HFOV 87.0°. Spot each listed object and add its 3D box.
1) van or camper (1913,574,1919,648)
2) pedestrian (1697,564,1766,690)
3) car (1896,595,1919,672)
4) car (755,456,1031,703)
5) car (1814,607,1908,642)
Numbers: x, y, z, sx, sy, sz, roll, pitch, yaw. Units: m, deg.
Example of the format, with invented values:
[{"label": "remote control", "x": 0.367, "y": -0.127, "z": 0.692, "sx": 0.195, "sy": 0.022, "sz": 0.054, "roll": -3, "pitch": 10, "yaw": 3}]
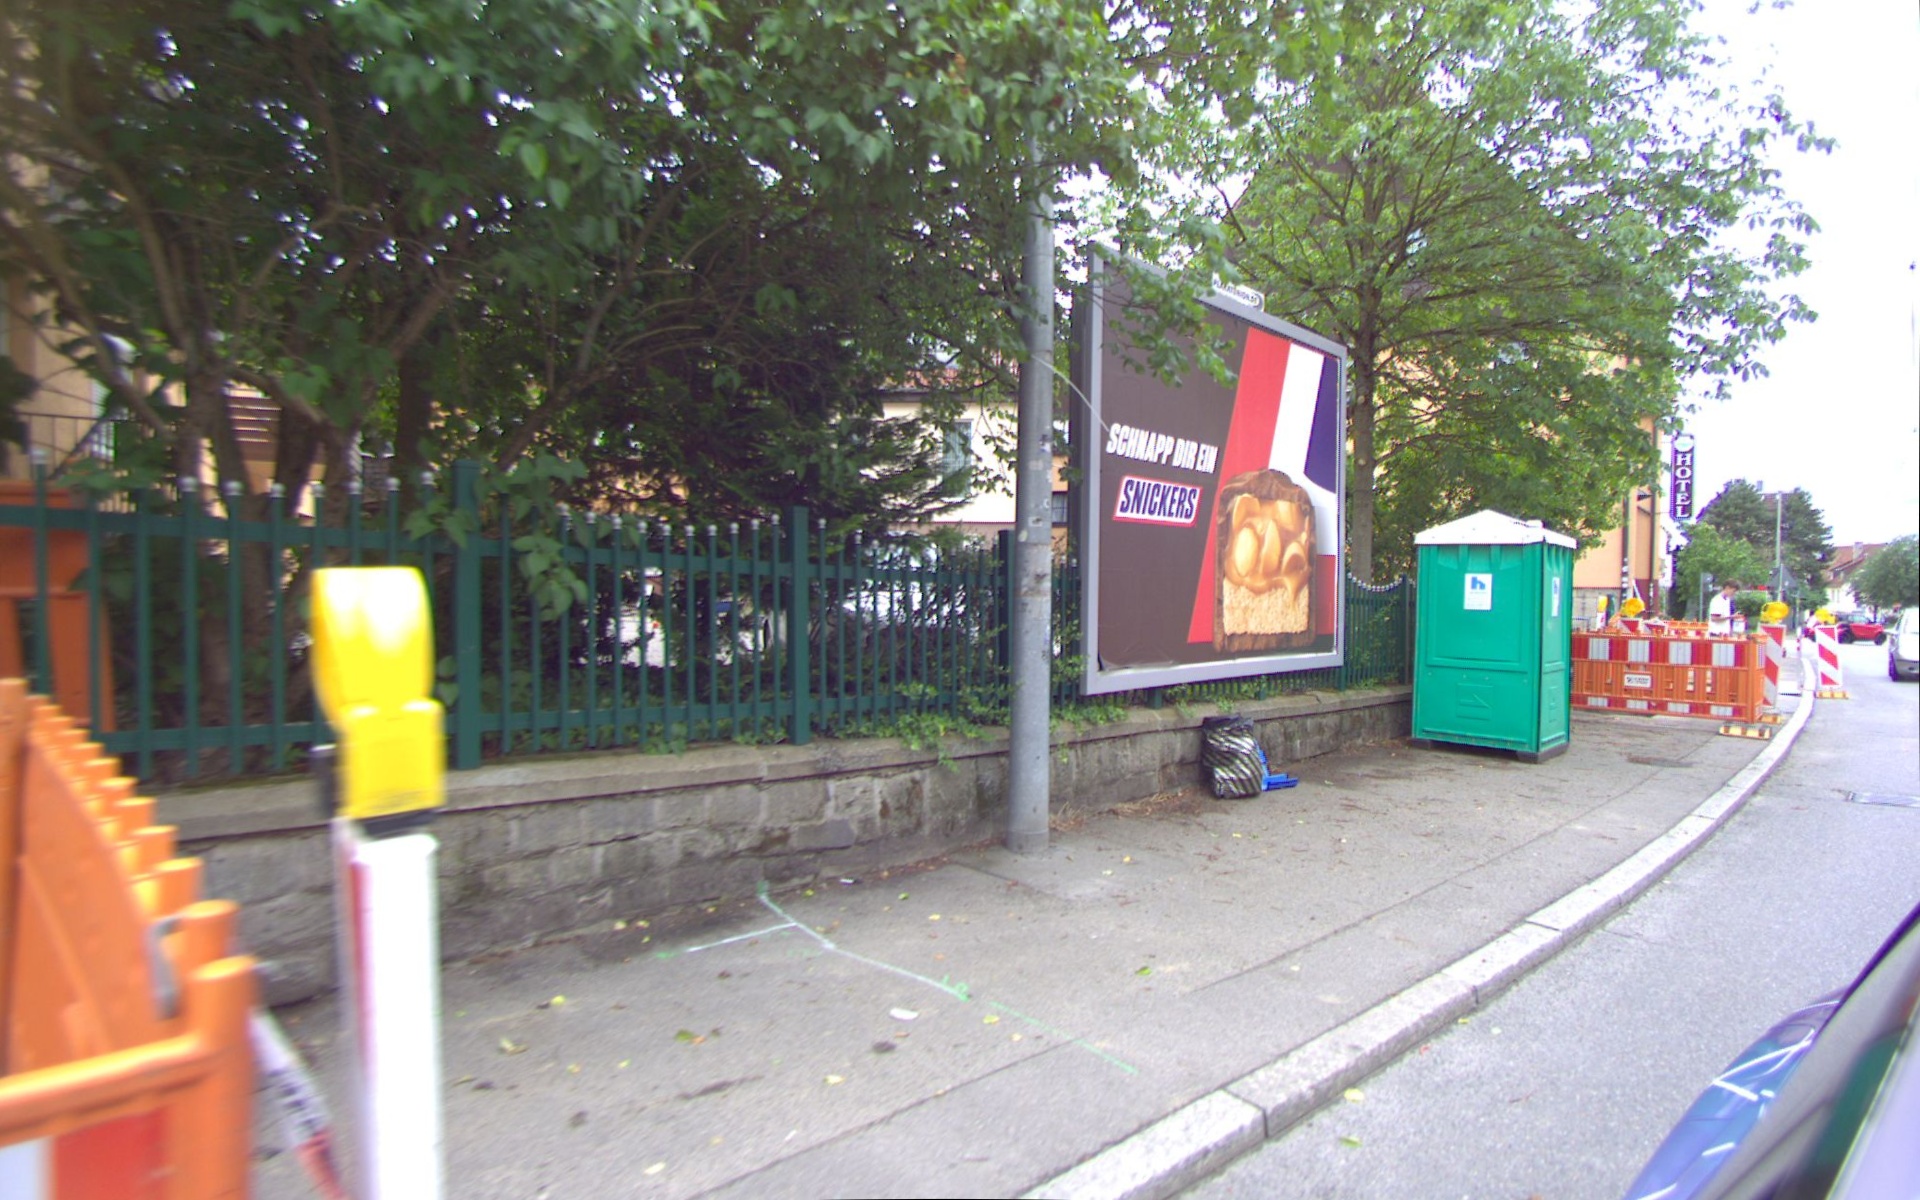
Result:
[{"label": "van or camper", "x": 37.071, "y": 0.471, "z": 36.871, "sx": 6.091, "sy": 2.640, "sz": 2.326, "roll": 1, "pitch": 1, "yaw": -36}, {"label": "pedestrian", "x": 12.570, "y": 0.413, "z": 16.485, "sx": 0.797, "sy": 1.974, "sz": 0.824, "roll": 2, "pitch": 1, "yaw": 40}, {"label": "car", "x": 21.810, "y": 0.746, "z": 22.183, "sx": 1.853, "sy": 1.576, "sz": 4.284, "roll": 3, "pitch": 1, "yaw": 43}, {"label": "car", "x": -0.949, "y": -0.209, "z": 10.770, "sx": 1.958, "sy": 2.058, "sz": 4.237, "roll": 1, "pitch": 1, "yaw": -17}, {"label": "car", "x": 43.948, "y": 1.201, "z": 49.423, "sx": 2.883, "sy": 1.539, "sz": 1.821, "roll": 2, "pitch": 1, "yaw": -1}]
